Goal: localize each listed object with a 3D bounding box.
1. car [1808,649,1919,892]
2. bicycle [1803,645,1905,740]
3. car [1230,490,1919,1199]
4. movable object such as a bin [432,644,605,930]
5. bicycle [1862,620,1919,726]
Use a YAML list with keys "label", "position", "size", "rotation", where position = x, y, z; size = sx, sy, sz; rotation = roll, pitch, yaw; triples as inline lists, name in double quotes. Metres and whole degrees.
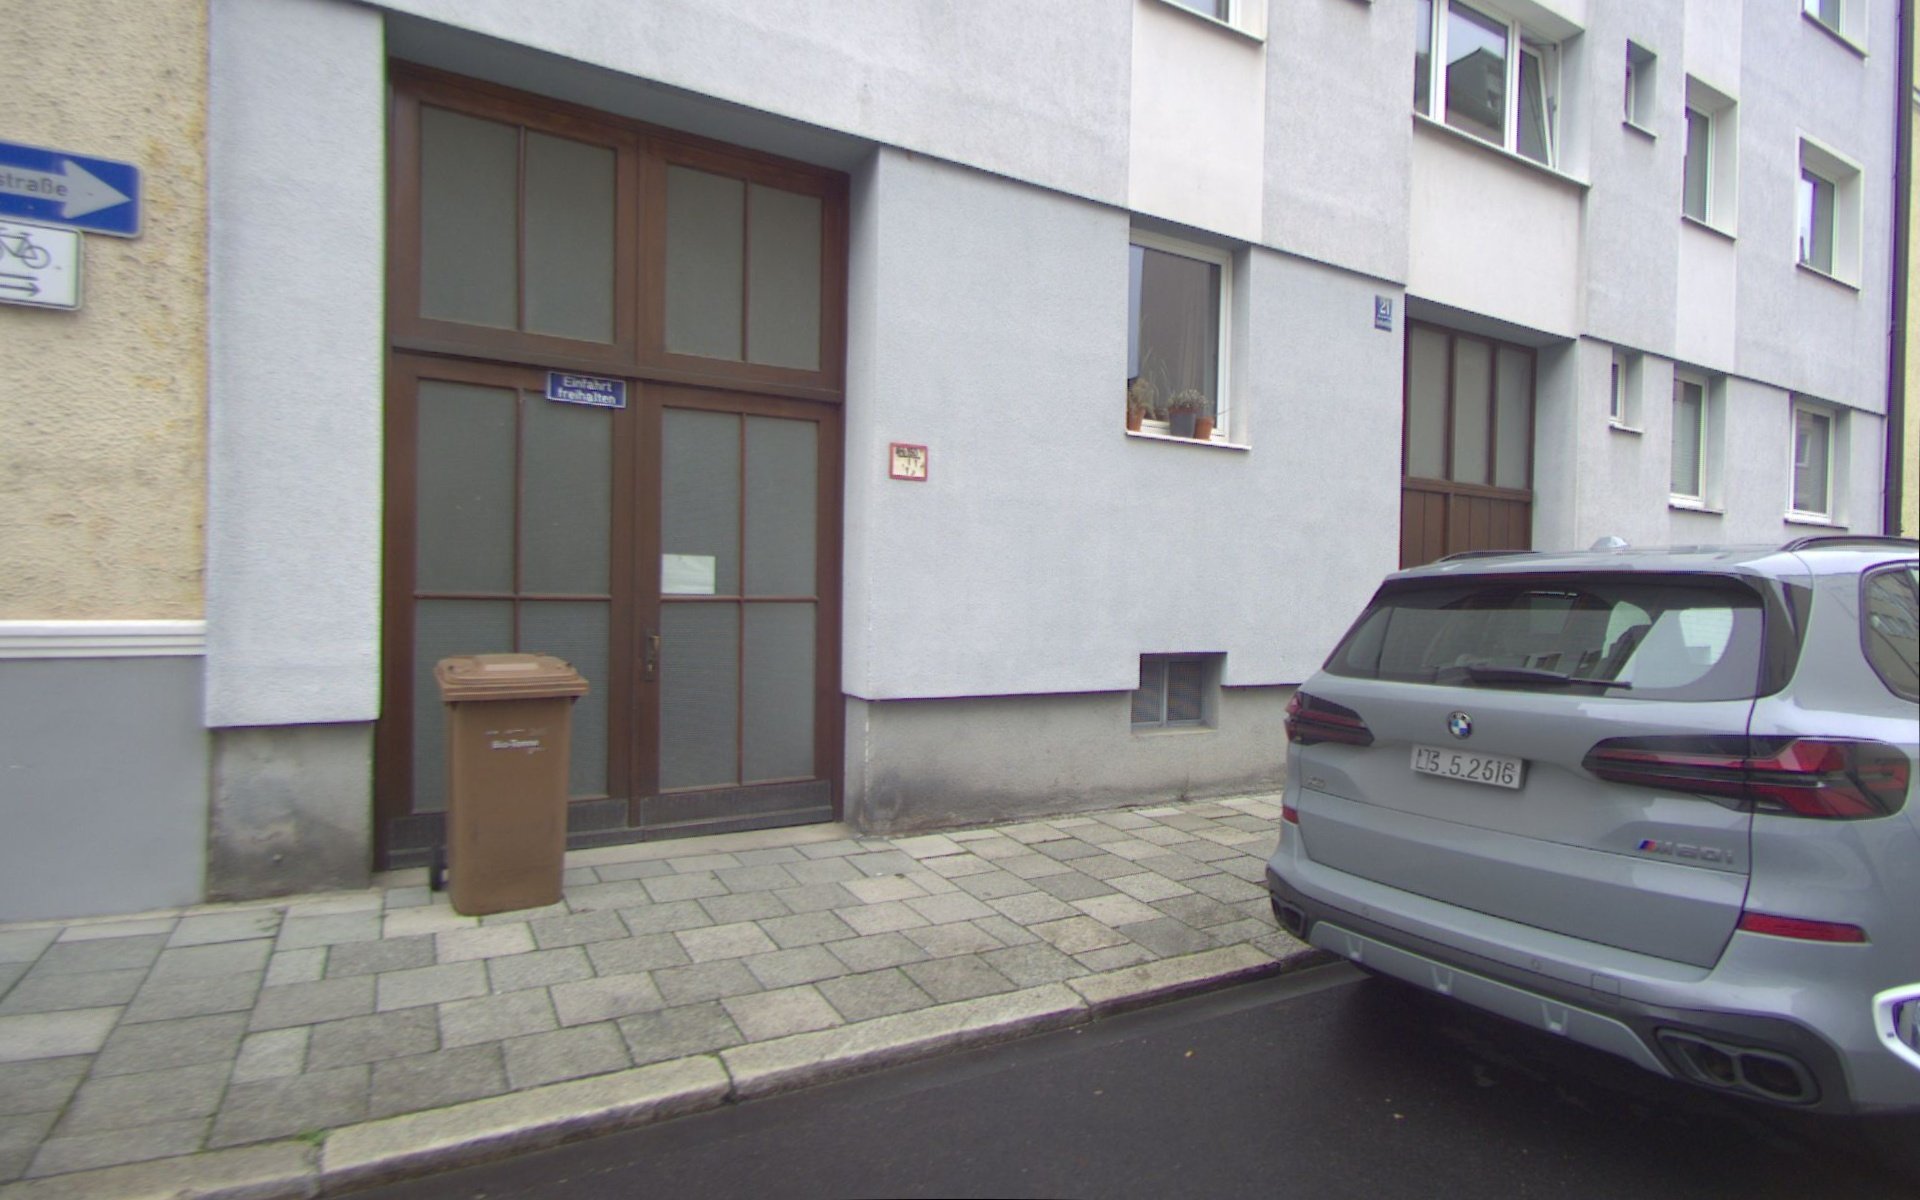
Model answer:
- label: "car"
  position: [7.595, 1.053, 6.649]
  size: [4.202, 1.404, 1.802]
  rotation: [2, -2, -31]
- label: "bicycle"
  position: [10.486, 1.062, 11.770]
  size: [1.552, 1.044, 0.393]
  rotation: [2, 1, -30]
- label: "car"
  position: [3.438, 0.709, 4.057]
  size: [4.682, 1.793, 1.853]
  rotation: [1, -1, -32]
- label: "movable object such as a bin"
  position: [-2.018, 0.780, 4.542]
  size: [0.615, 1.065, 0.803]
  rotation: [1, 4, -30]
- label: "bicycle"
  position: [12.119, 0.899, 12.628]
  size: [1.716, 1.250, 0.633]
  rotation: [2, 1, -30]
